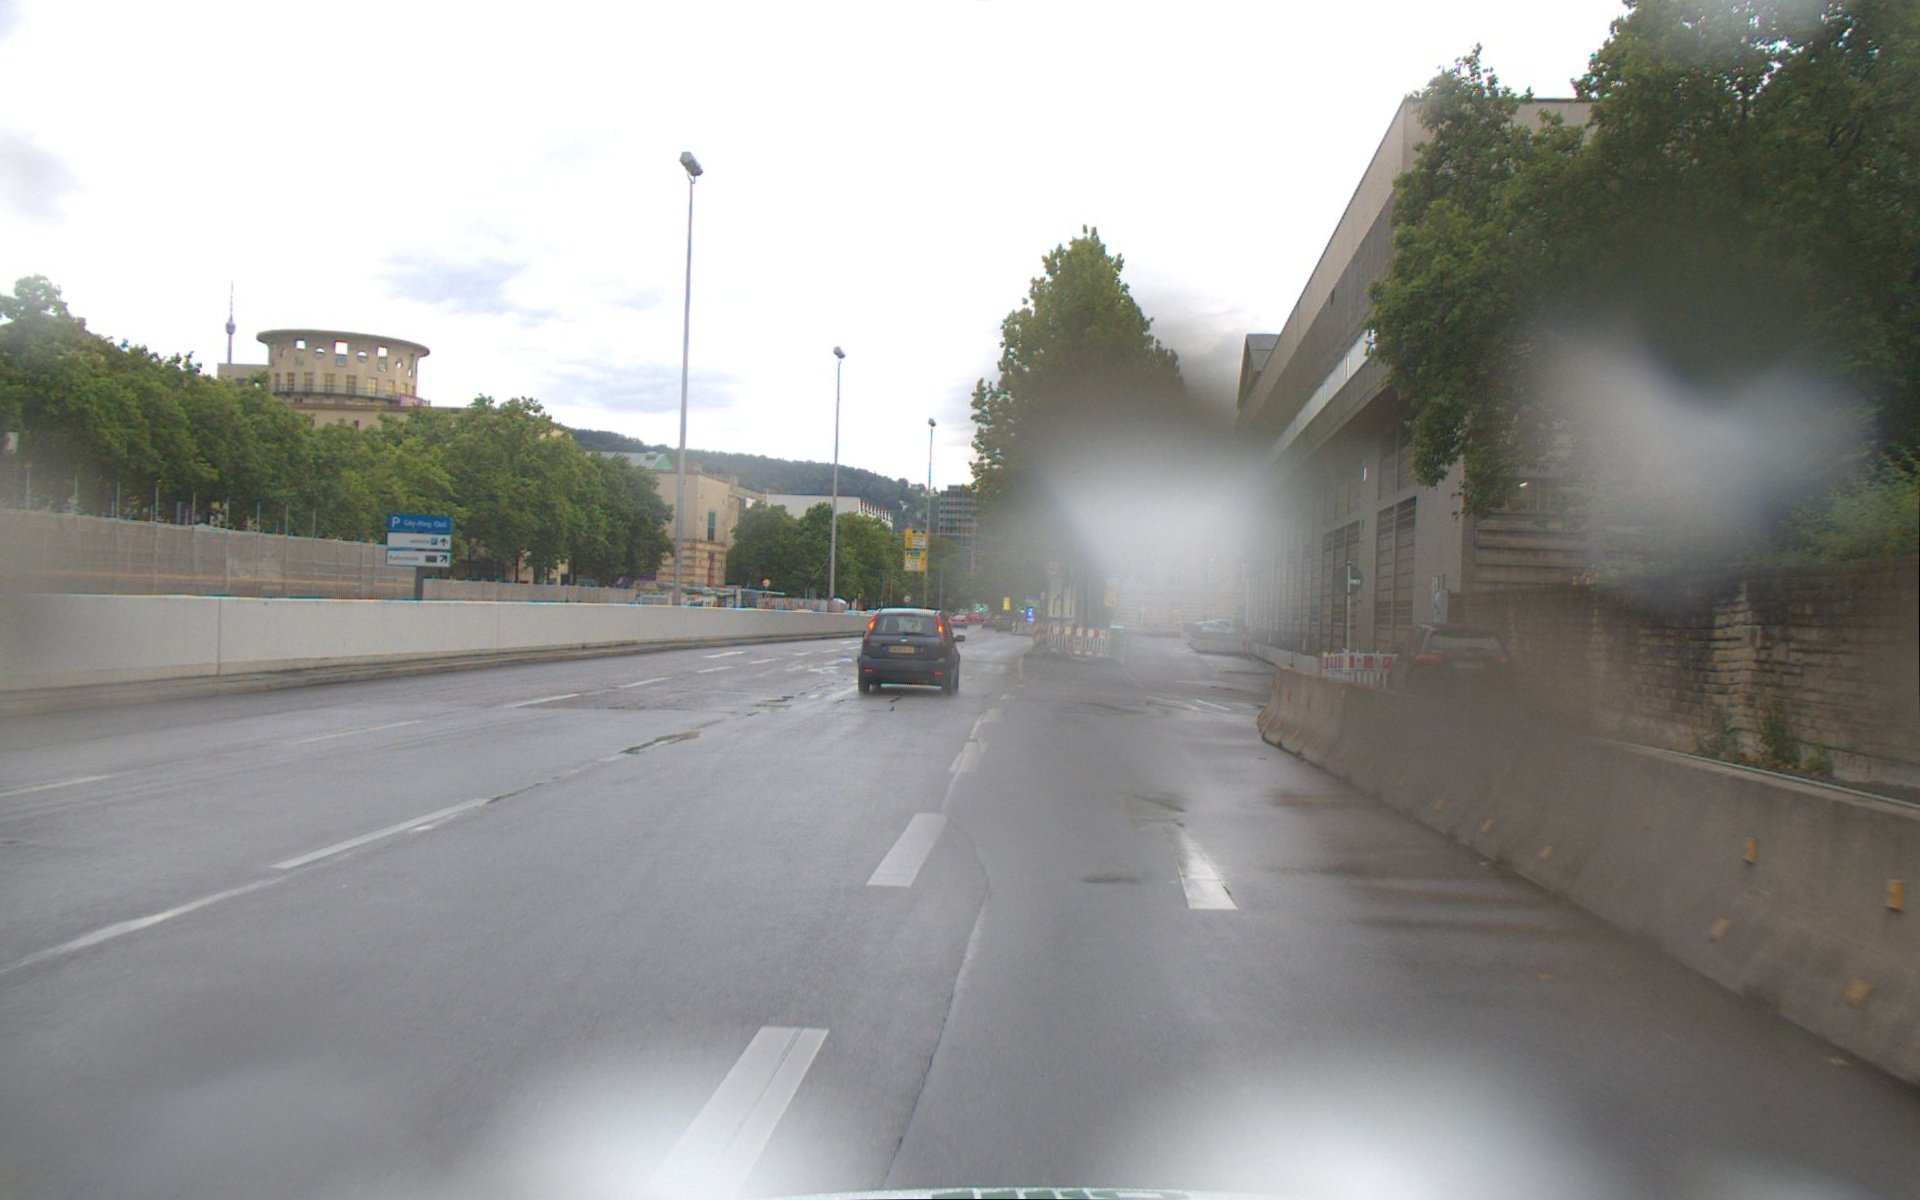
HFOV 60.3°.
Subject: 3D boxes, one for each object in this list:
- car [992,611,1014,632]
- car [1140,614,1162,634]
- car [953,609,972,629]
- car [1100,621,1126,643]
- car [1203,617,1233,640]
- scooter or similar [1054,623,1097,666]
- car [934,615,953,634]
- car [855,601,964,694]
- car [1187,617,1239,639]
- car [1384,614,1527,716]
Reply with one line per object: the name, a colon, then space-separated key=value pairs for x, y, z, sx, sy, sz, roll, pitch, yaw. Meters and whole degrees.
car: x=4.409 y=2.190 z=169.277 sx=1.952 sy=2.048 sz=4.002 roll=3 pitch=0 yaw=4
car: x=19.084 y=2.398 z=165.319 sx=1.951 sy=1.738 sz=4.003 roll=3 pitch=-2 yaw=8
car: x=0.261 y=2.158 z=185.311 sx=1.953 sy=2.049 sz=3.998 roll=4 pitch=-2 yaw=-1
car: x=13.356 y=2.756 z=144.235 sx=1.951 sy=1.738 sz=4.003 roll=3 pitch=0 yaw=8
car: x=21.360 y=2.387 z=137.026 sx=1.951 sy=1.791 sz=5.098 roll=2 pitch=-2 yaw=4
scooter or similar: x=3.857 y=1.486 z=55.273 sx=1.327 sy=1.308 sz=0.619 roll=4 pitch=-2 yaw=5
car: x=-1.246 y=1.841 z=124.925 sx=1.357 sy=1.411 sz=3.066 roll=1 pitch=-1 yaw=-1
car: x=-0.833 y=0.798 z=29.233 sx=1.635 sy=1.452 sz=3.758 roll=3 pitch=0 yaw=2
car: x=19.727 y=2.168 z=129.172 sx=3.903 sy=1.587 sz=1.934 roll=1 pitch=-3 yaw=4
car: x=8.630 y=1.082 z=29.113 sx=1.766 sy=1.579 sz=4.329 roll=2 pitch=0 yaw=9
